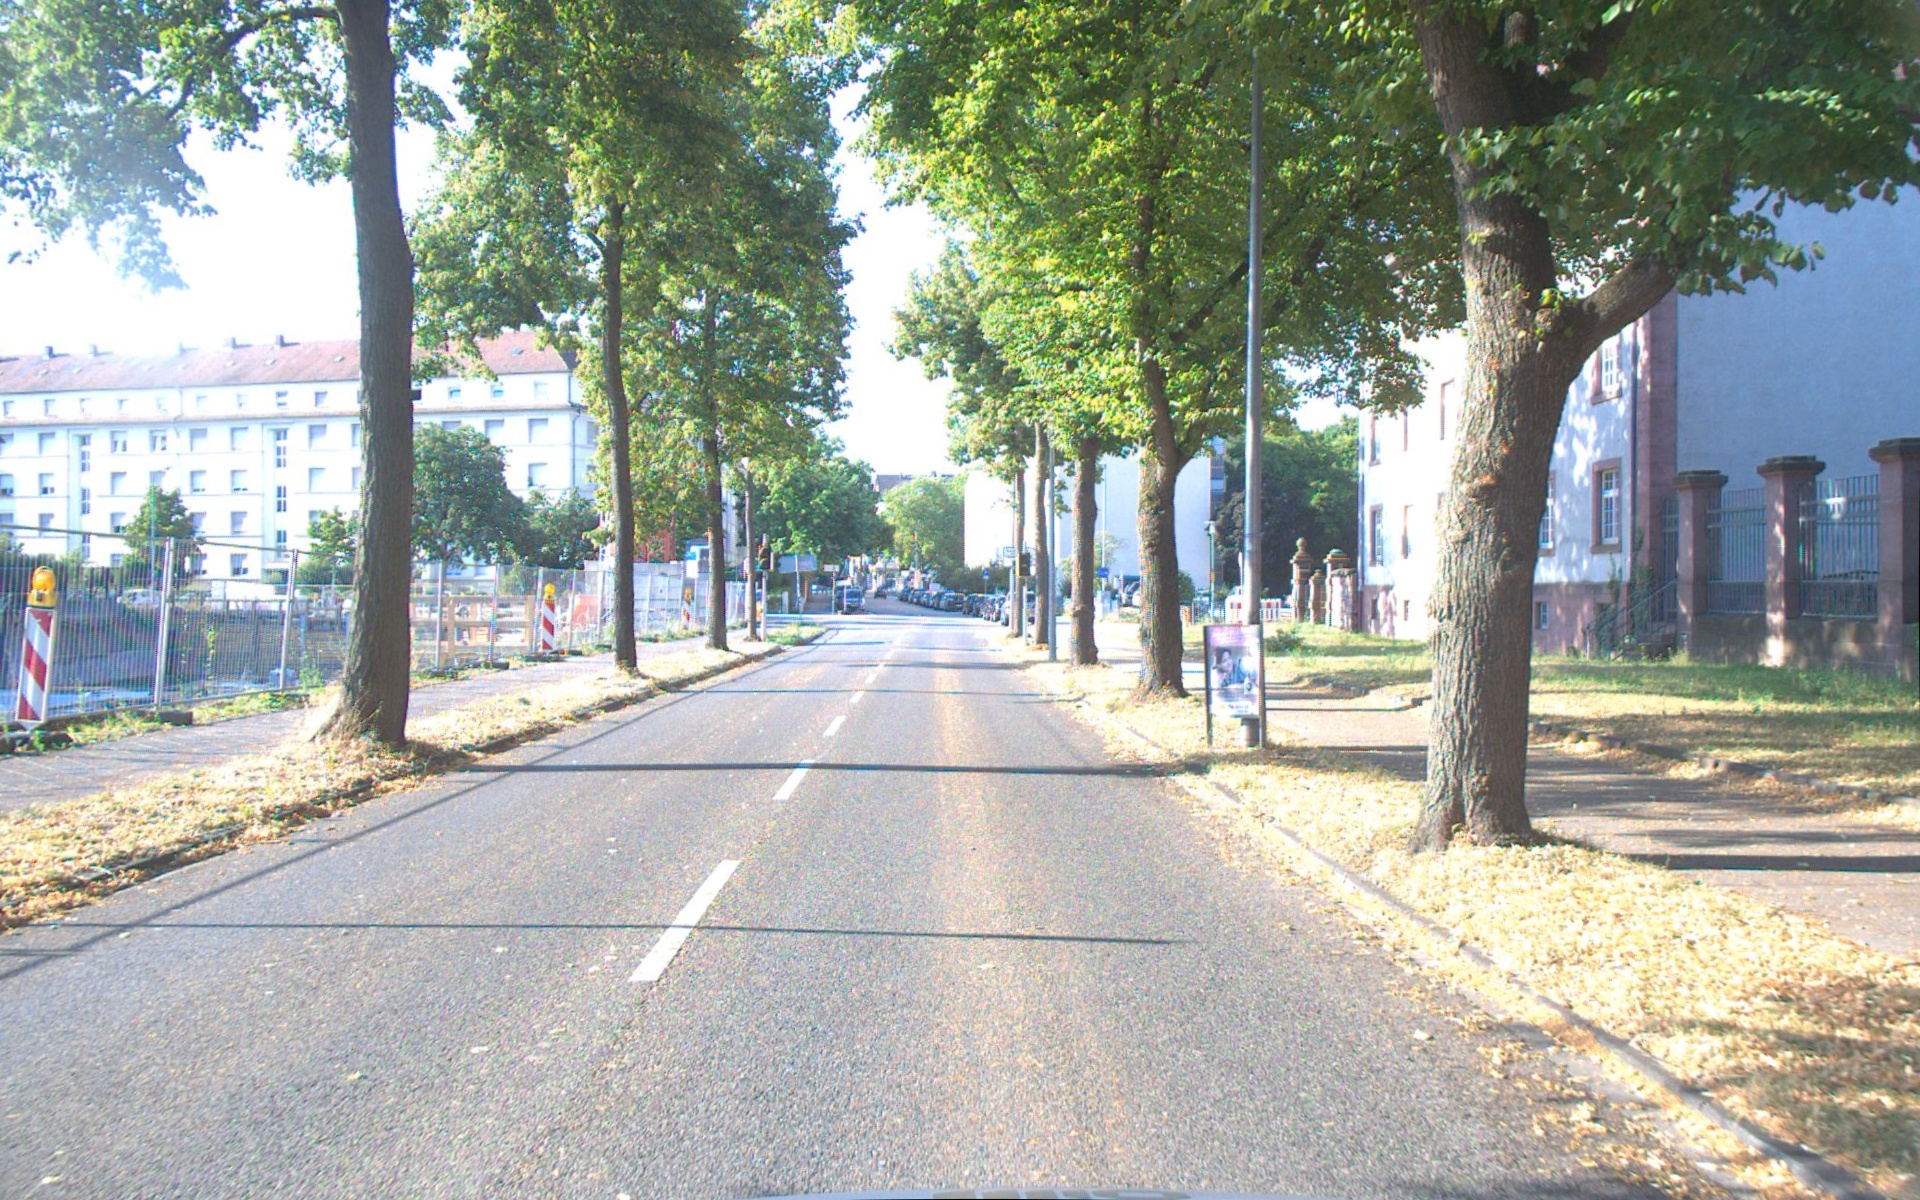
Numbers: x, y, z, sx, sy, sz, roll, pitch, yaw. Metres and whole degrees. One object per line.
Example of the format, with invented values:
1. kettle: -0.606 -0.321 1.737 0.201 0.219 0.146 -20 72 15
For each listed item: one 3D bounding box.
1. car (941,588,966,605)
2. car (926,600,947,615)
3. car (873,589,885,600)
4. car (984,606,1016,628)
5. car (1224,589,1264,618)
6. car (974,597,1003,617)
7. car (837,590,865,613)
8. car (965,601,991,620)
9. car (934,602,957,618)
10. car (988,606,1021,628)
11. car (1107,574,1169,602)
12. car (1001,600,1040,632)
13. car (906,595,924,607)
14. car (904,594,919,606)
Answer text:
1. car: -0.543 -0.275 138.606 1.805 1.410 3.996 -1 0 -4
2. car: -2.294 0.744 161.332 1.805 1.410 3.996 -1 0 -4
3. car: -11.622 -0.775 236.977 1.680 1.512 3.996 -1 0 -4
4. car: 2.471 1.040 102.985 1.804 1.283 3.999 -1 0 -1
5. car: 16.904 0.219 98.595 1.775 1.587 3.626 1 -1 1
6. car: 1.915 0.478 113.433 1.804 1.283 3.999 -1 0 -1
7. car: -8.277 0.117 125.383 1.955 1.717 3.994 -1 -1 -7
8. car: 1.291 0.753 120.280 1.804 1.283 3.999 -1 0 -1
9. car: -1.304 0.910 149.184 1.805 1.410 3.996 -1 0 -4
10. car: 2.600 1.006 97.689 1.743 1.248 3.999 -1 0 -1
11. car: 11.932 -0.808 111.024 3.905 1.758 1.773 1 0 0
12. car: 3.135 0.816 86.462 1.804 1.601 3.999 -1 0 -1
13. car: -5.163 0.117 188.474 1.805 1.410 3.996 -1 0 -4
14. car: -6.260 0.018 211.487 1.804 1.410 3.998 -1 0 -3
